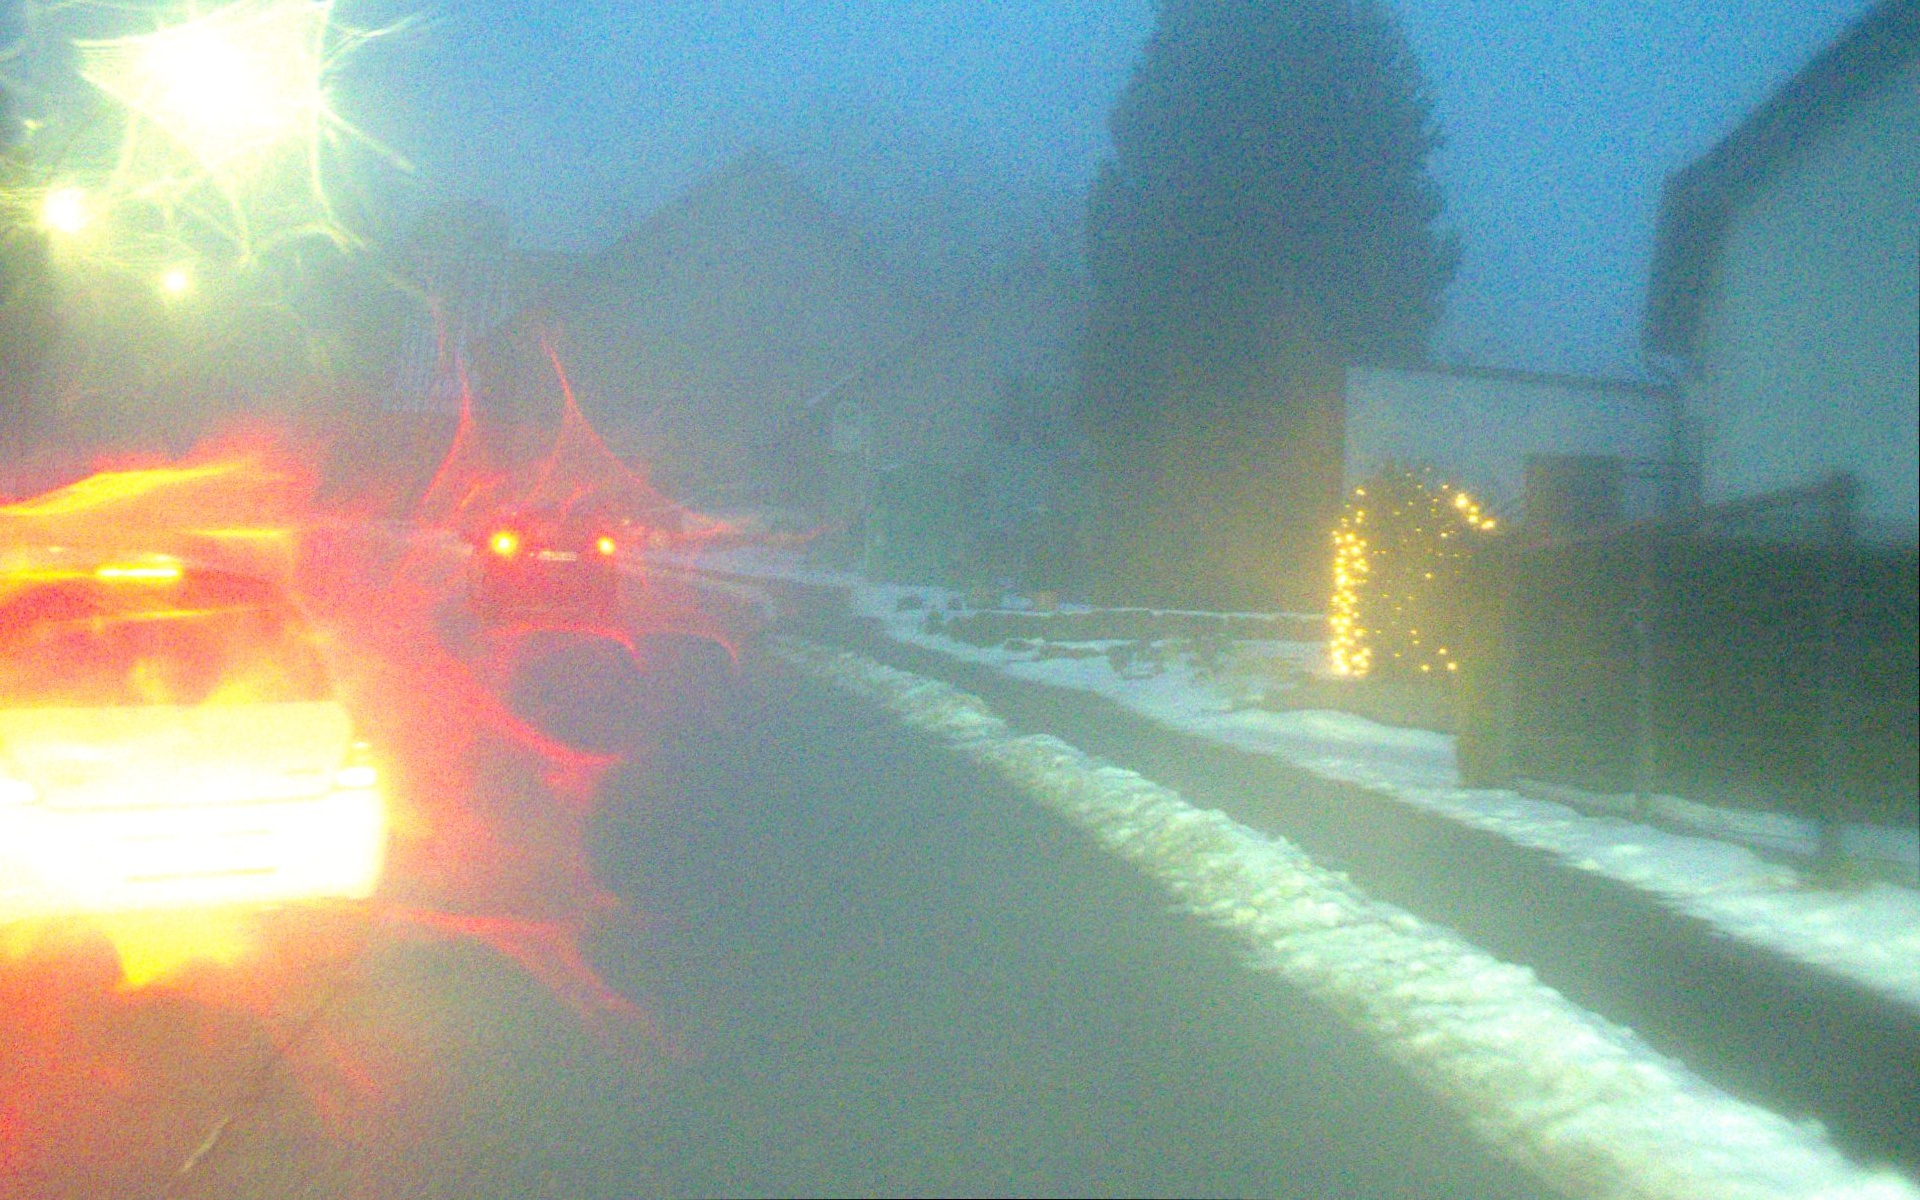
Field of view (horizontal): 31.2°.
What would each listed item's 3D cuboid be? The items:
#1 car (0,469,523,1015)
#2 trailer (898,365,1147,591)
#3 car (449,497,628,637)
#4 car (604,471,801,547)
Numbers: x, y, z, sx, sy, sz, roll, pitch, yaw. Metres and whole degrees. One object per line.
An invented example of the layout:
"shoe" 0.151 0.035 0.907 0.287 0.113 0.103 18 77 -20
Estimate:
"car" -3.424 0.360 12.151 1.898 1.603 3.999 1 1 -38
"trailer" 0.988 -2.033 58.281 2.874 3.548 5.064 2 1 -14
"car" -5.580 -0.400 45.125 1.993 1.731 3.879 1 -1 -12
"car" -5.632 -1.984 75.371 4.242 1.554 2.000 1 -1 -4
